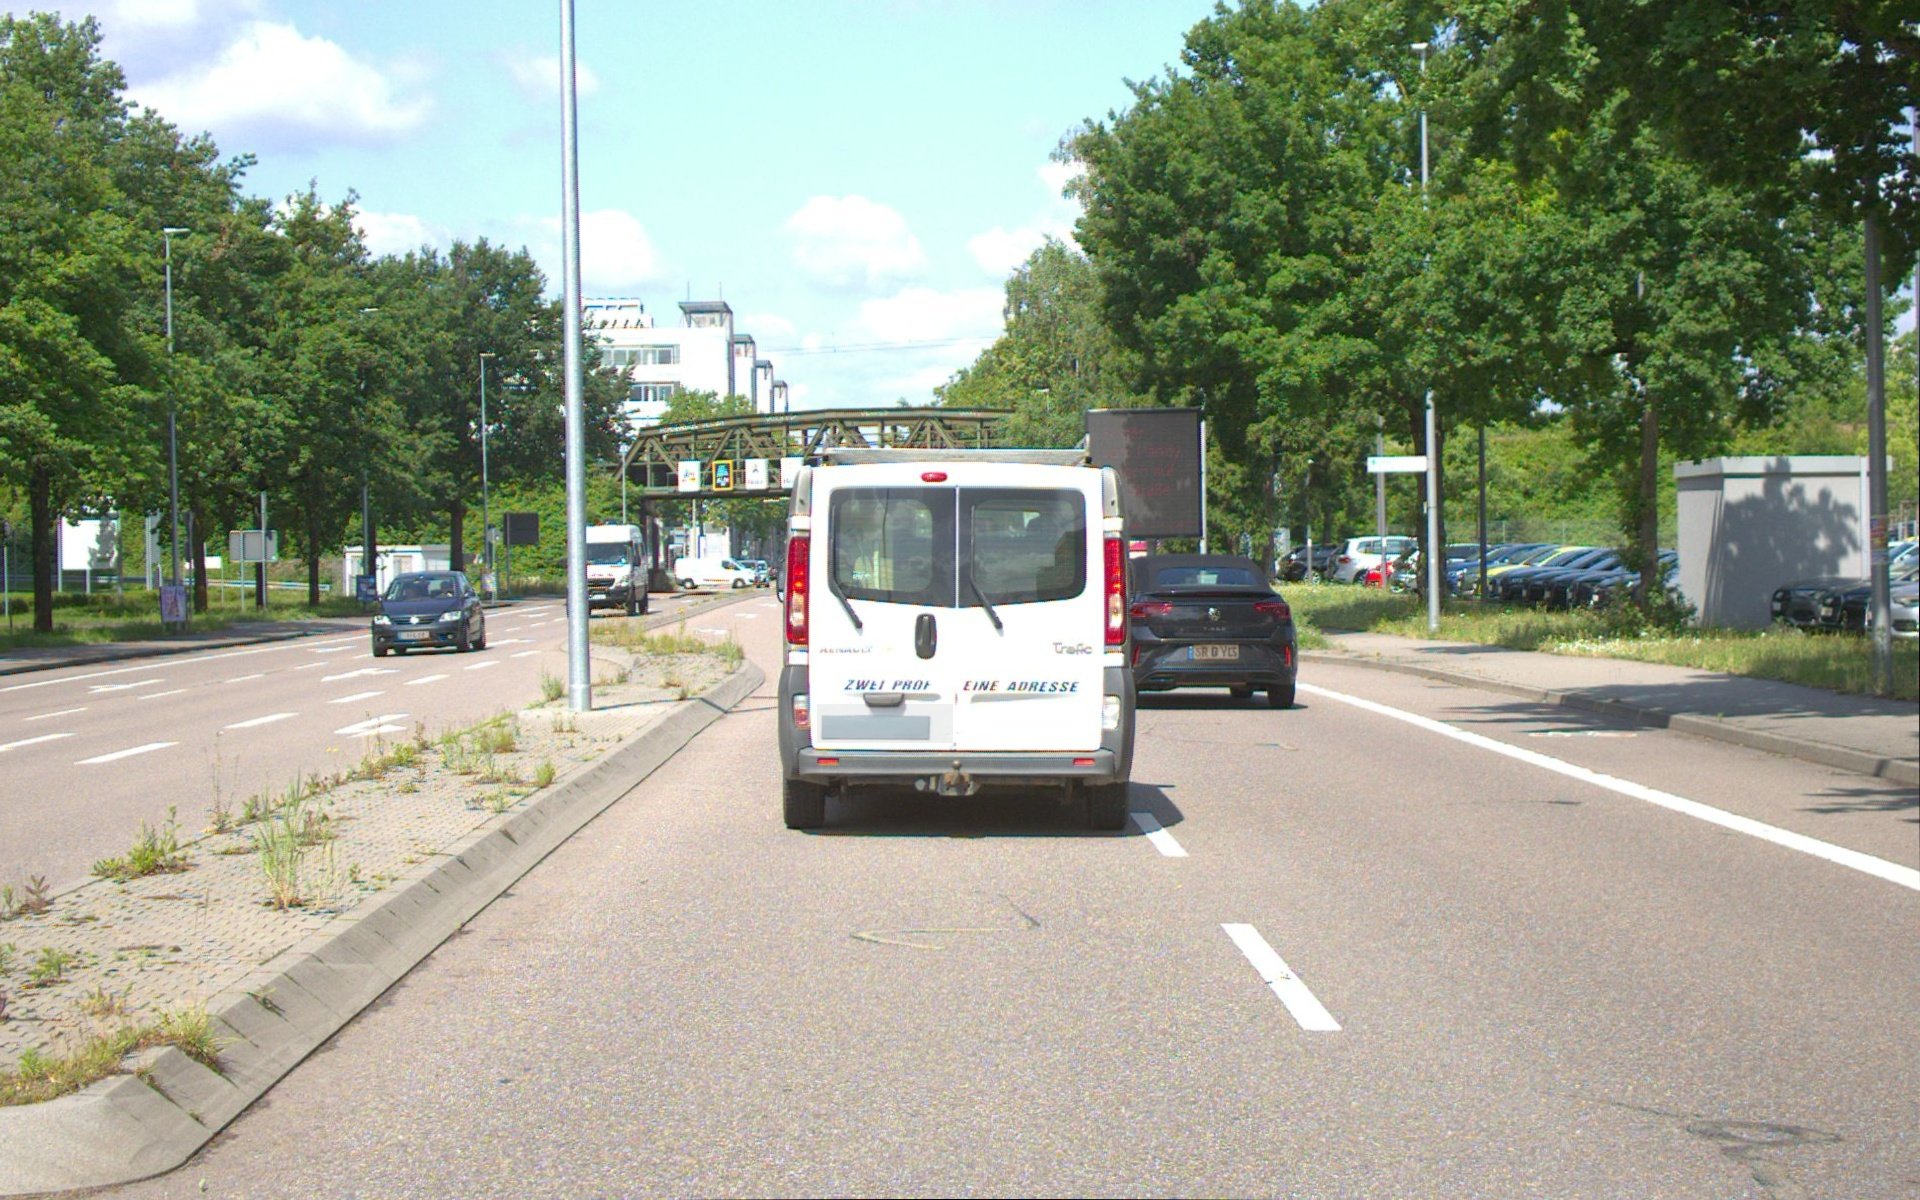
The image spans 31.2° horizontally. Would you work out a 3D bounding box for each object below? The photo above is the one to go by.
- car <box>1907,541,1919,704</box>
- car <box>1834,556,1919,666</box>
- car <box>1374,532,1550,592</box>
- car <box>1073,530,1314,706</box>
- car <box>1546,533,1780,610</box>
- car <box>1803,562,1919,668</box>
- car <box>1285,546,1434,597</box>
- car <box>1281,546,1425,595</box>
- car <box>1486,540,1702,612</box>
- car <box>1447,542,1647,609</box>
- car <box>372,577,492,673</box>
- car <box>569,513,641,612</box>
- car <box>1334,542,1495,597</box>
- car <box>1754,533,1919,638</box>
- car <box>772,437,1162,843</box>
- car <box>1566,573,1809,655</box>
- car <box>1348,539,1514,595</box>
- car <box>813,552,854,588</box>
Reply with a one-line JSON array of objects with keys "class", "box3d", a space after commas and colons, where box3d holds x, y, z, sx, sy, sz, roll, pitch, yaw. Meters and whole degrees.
[{"class": "car", "box3d": [14.349, 0.316, 42.744, 4.574, 2.042, 1.907, 0, 2, -1]}, {"class": "car", "box3d": [13.830, 0.112, 45.381, 4.107, 1.399, 1.818, -1, 1, -1]}, {"class": "car", "box3d": [13.378, -1.022, 91.804, 4.354, 1.507, 1.936, 0, 2, -2]}, {"class": "car", "box3d": [2.298, 0.131, 34.754, 1.773, 1.623, 4.001, 0, 2, -6]}, {"class": "car", "box3d": [14.408, -0.598, 70.632, 4.354, 1.507, 1.936, 0, 2, -2]}, {"class": "car", "box3d": [14.128, 0.204, 48.296, 4.107, 1.440, 1.855, 0, 1, 0]}, {"class": "car", "box3d": [12.406, -0.902, 106.936, 4.354, 1.507, 1.936, 0, 2, -2]}, {"class": "car", "box3d": [12.640, -0.946, 110.765, 4.354, 1.507, 1.936, 0, 2, -2]}, {"class": "car", "box3d": [13.960, -0.536, 75.837, 4.354, 1.507, 1.936, 0, 2, -2]}, {"class": "car", "box3d": [13.892, -0.588, 81.506, 4.354, 1.507, 1.936, 0, 2, -2]}, {"class": "car", "box3d": [-9.920, 0.449, 64.857, 1.738, 1.604, 4.242, -4, 1, -3]}, {"class": "car", "box3d": [-10.683, -1.119, 103.679, 2.022, 2.883, 6.383, -1, 1, -5]}, {"class": "car", "box3d": [13.186, -0.896, 99.887, 4.354, 1.507, 1.936, 0, 2, -2]}, {"class": "car", "box3d": [14.183, -0.237, 50.987, 4.355, 1.507, 1.855, -1, 0, 0]}, {"class": "car", "box3d": [0.042, 0.136, 19.709, 1.973, 2.052, 4.565, 0, 2, 0]}, {"class": "car", "box3d": [14.400, 0.268, 68.185, 4.354, 1.507, 1.936, 0, 2, -2]}, {"class": "car", "box3d": [13.214, -0.939, 96.589, 4.354, 1.507, 1.936, 0, 2, -2]}, {"class": "car", "box3d": [-6.692, -1.577, 182.106, 1.993, 1.765, 4.001, 0, 2, 0]}]
